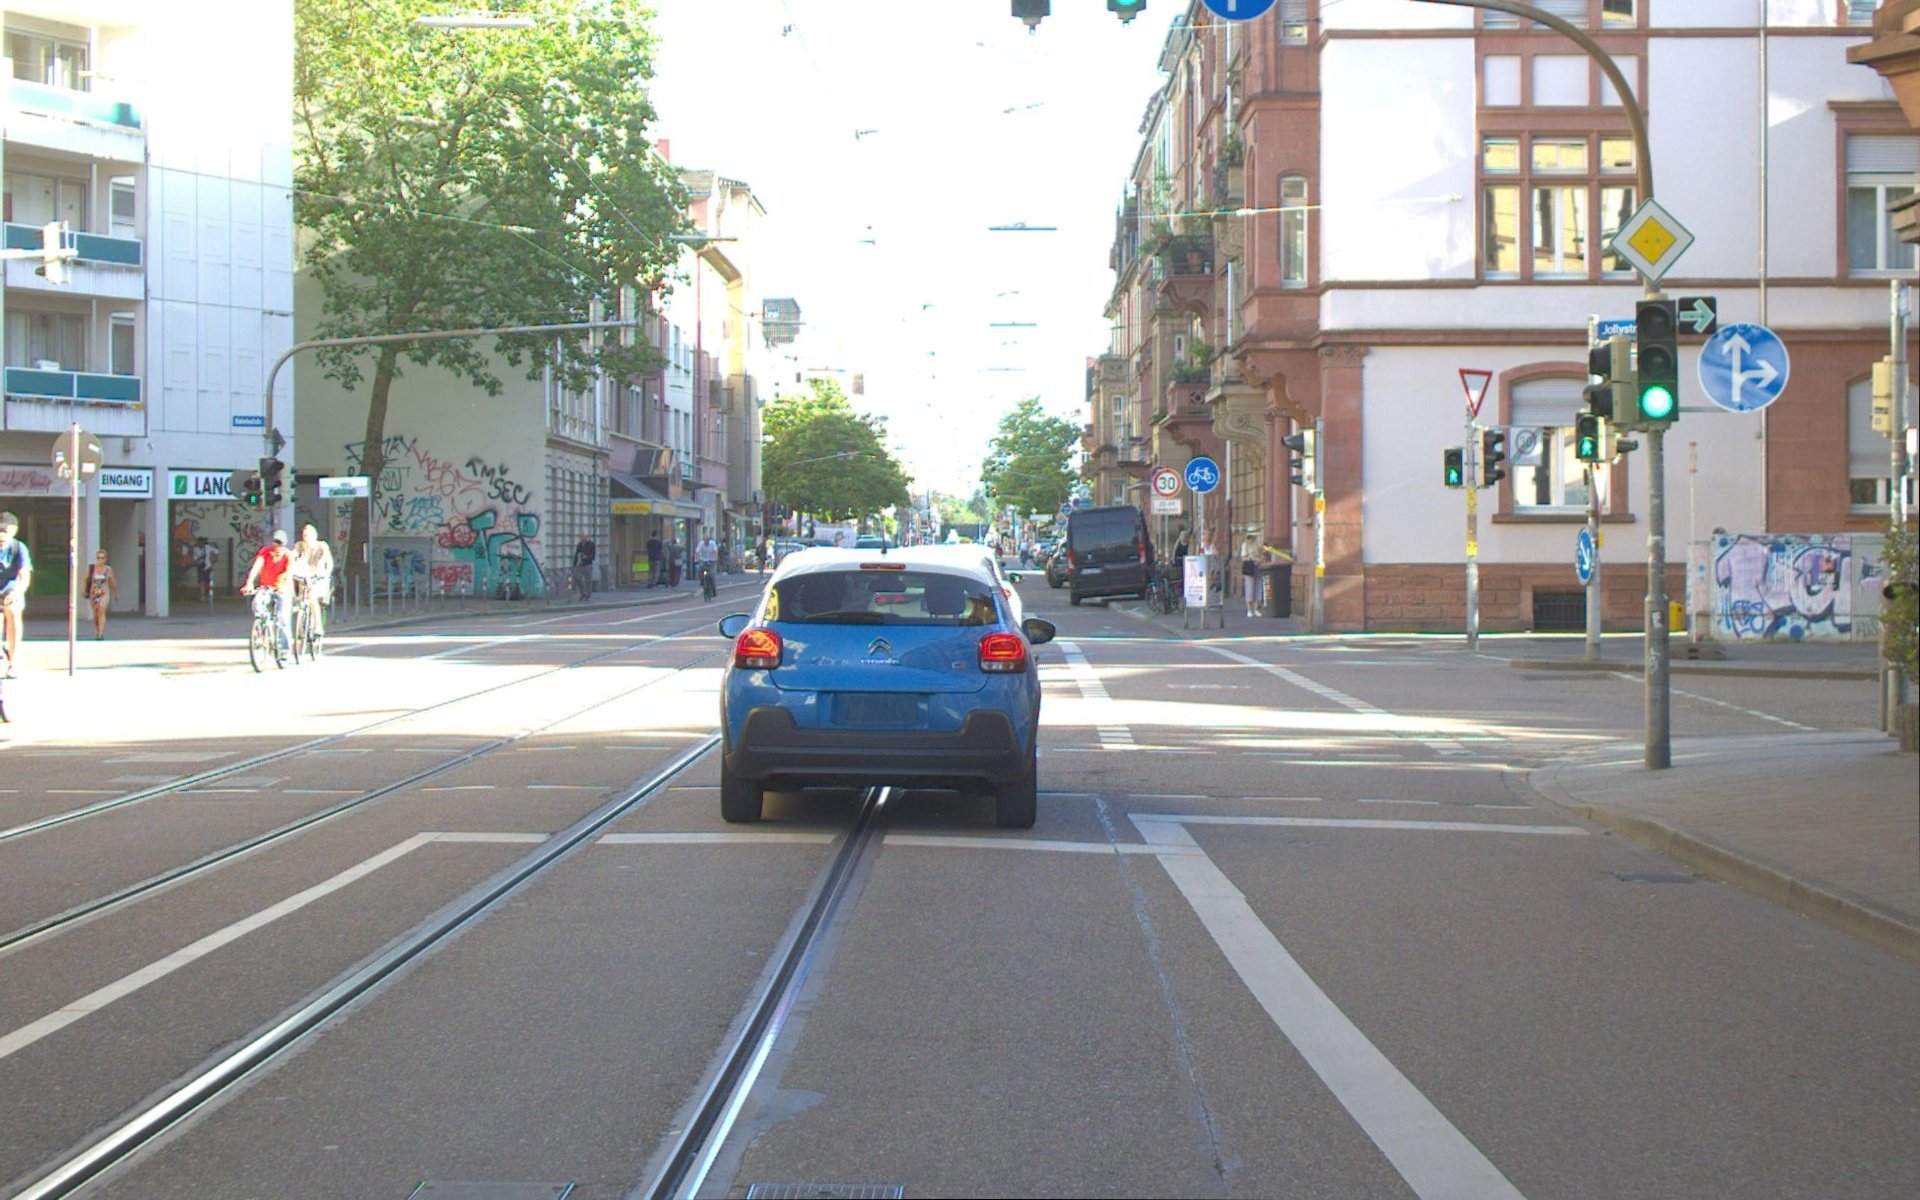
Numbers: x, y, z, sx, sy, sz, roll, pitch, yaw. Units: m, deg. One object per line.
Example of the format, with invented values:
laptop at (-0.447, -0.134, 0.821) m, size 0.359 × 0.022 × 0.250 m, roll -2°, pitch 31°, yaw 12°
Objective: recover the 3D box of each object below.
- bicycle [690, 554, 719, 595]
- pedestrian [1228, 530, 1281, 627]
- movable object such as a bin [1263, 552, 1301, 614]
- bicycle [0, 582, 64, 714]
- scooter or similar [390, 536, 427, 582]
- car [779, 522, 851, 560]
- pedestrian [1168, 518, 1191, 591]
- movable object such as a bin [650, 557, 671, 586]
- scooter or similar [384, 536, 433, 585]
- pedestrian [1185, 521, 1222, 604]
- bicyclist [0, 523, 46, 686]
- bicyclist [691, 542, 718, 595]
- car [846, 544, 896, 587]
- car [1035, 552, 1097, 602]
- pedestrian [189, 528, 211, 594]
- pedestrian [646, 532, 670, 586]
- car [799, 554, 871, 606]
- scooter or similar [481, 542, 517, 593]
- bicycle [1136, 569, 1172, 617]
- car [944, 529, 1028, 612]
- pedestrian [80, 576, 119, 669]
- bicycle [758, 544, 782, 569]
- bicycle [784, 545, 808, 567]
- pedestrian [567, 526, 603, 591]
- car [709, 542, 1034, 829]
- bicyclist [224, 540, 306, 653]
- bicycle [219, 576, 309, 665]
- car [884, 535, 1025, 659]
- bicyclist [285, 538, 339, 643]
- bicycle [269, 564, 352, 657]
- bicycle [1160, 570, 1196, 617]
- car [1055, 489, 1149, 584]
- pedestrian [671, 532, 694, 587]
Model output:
bicycle at (-7.086, -0.717, 95.412) m, size 0.692 × 1.116 × 2.084 m, roll 0°, pitch 1°, yaw -1°
pedestrian at (5.695, -0.411, 66.517) m, size 0.705 × 1.776 × 0.673 m, roll -9°, pitch 1°, yaw -1°
movable object such as a bin at (6.073, -0.322, 64.780) m, size 0.666 × 1.149 × 0.594 m, roll 0°, pitch 1°, yaw 1°
bicycle at (-8.412, 0.395, 29.893) m, size 0.730 × 1.084 × 2.062 m, roll 0°, pitch 1°, yaw -1°
scooter or similar at (-14.621, -1.098, 91.097) m, size 0.937 × 1.218 × 0.768 m, roll 0°, pitch 1°, yaw -12°
car at (-9.730, -3.981, 231.295) m, size 4.307 × 2.572 × 2.210 m, roll 0°, pitch 1°, yaw -25°
pedestrian at (6.081, -1.261, 95.199) m, size 0.585 × 2.007 × 0.823 m, roll 0°, pitch 1°, yaw -1°
movable object such as a bin at (-9.756, -0.932, 112.058) m, size 0.610 × 0.911 × 0.695 m, roll 0°, pitch 1°, yaw 0°
scooter or similar at (-14.381, -1.036, 89.578) m, size 1.227 × 1.253 × 0.768 m, roll 0°, pitch 1°, yaw -12°
pedestrian at (4.995, -0.781, 70.644) m, size 0.626 × 1.695 × 0.682 m, roll 0°, pitch 1°, yaw -8°
bicyclist at (-8.407, 0.031, 29.687) m, size 0.724 × 1.376 × 1.228 m, roll 0°, pitch 1°, yaw -1°
bicyclist at (-7.099, -0.879, 95.485) m, size 0.682 × 1.478 × 0.778 m, roll 0°, pitch 1°, yaw 0°
car at (-3.638, -1.434, 140.868) m, size 1.993 × 1.738 × 4.563 m, roll 0°, pitch 1°, yaw -1°
car at (3.632, -0.804, 118.247) m, size 2.005 × 1.667 × 4.806 m, roll 0°, pitch 1°, yaw 0°
pedestrian at (-19.779, -1.007, 89.492) m, size 0.456 × 1.712 × 0.547 m, roll 0°, pitch 1°, yaw -1°
pedestrian at (-9.789, -1.333, 111.325) m, size 0.710 × 1.758 × 0.570 m, roll 0°, pitch 1°, yaw -1°
car at (-3.664, -0.598, 101.472) m, size 1.985 × 1.497 × 4.309 m, roll 0°, pitch 1°, yaw -1°
scooter or similar at (-12.198, -0.862, 90.947) m, size 0.788 × 1.267 × 1.075 m, roll 2°, pitch 2°, yaw -1°
bicycle at (3.980, -0.146, 70.496) m, size 0.431 × 0.944 × 1.764 m, roll 0°, pitch 1°, yaw -7°
car at (0.627, -0.735, 85.648) m, size 1.993 × 2.007 × 4.000 m, roll 0°, pitch 1°, yaw -1°
pedestrian at (-14.433, 0.381, 57.671) m, size 0.542 × 1.547 × 0.516 m, roll 0°, pitch 1°, yaw -1°
bicycle at (-10.114, -2.310, 182.718) m, size 1.120 × 1.315 × 3.645 m, roll 0°, pitch 1°, yaw -5°
bicycle at (-8.735, -2.349, 182.634) m, size 1.120 × 1.142 × 3.645 m, roll 0°, pitch 1°, yaw -5°
pedestrian at (-10.090, -1.118, 92.531) m, size 0.682 × 1.759 × 1.025 m, roll 0°, pitch 1°, yaw 11°
car at (-0.528, 0.405, 19.711) m, size 1.674 × 1.472 × 4.001 m, roll 0°, pitch 1°, yaw -2°
bicyclist at (-8.575, -0.050, 42.444) m, size 0.735 × 1.376 × 1.469 m, roll 0°, pitch 1°, yaw -1°
bicycle at (-8.571, 0.237, 42.420) m, size 0.730 × 1.062 × 2.062 m, roll 0°, pitch 1°, yaw -1°
car at (-0.090, -0.062, 43.124) m, size 1.667 × 1.473 × 4.000 m, roll 0°, pitch 1°, yaw -1°
bicyclist at (-8.537, -0.131, 45.308) m, size 0.590 × 1.371 × 0.679 m, roll 0°, pitch 1°, yaw -1°
bicycle at (-8.520, 0.123, 45.149) m, size 0.730 × 1.179 × 2.062 m, roll 0°, pitch 1°, yaw -1°
bicycle at (4.470, -0.141, 70.561) m, size 0.431 × 0.944 × 1.764 m, roll 0°, pitch 1°, yaw -7°
car at (3.712, -1.651, 90.871) m, size 2.271 × 2.428 × 5.720 m, roll 0°, pitch 1°, yaw 0°
pedestrian at (-8.997, -1.314, 111.373) m, size 0.710 × 1.758 × 0.655 m, roll 0°, pitch 1°, yaw -2°
